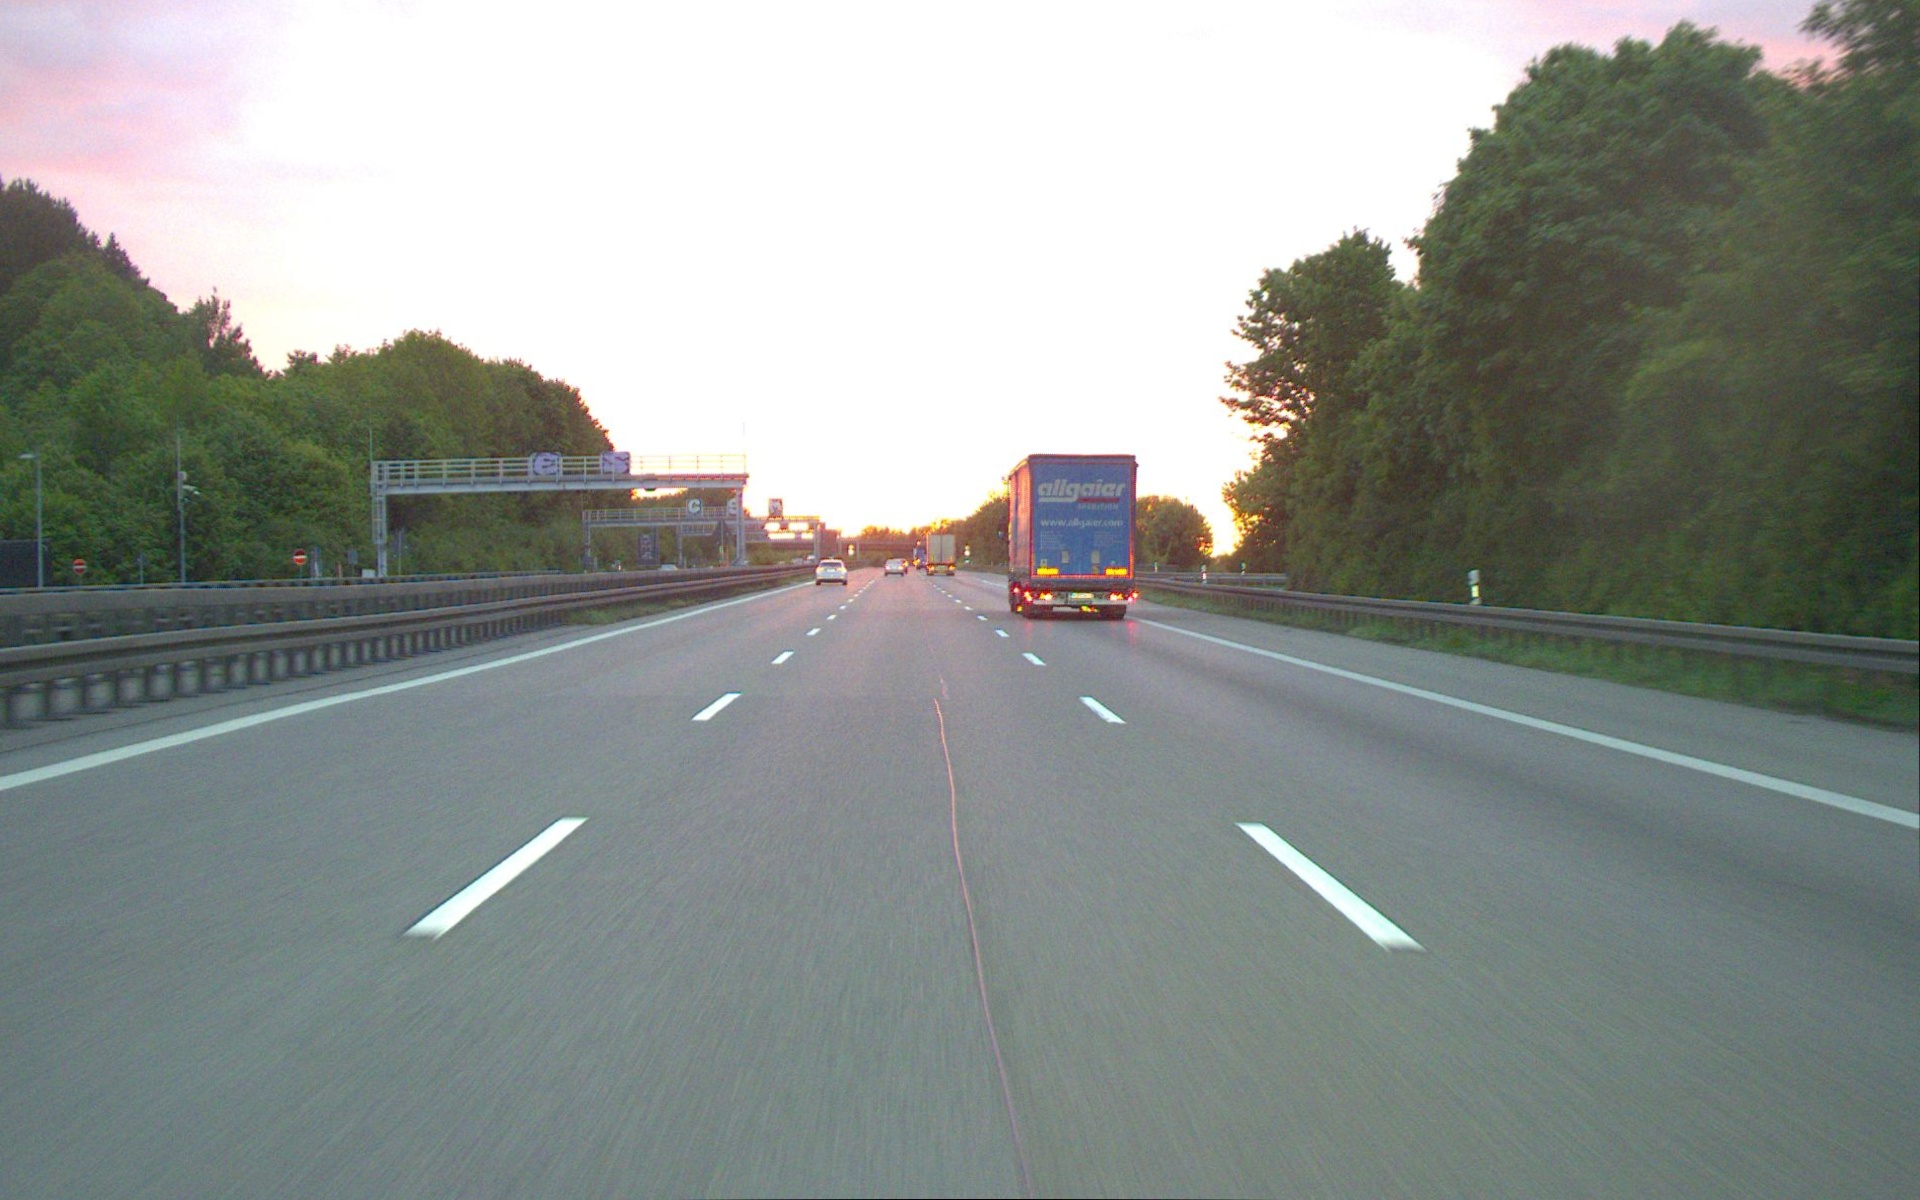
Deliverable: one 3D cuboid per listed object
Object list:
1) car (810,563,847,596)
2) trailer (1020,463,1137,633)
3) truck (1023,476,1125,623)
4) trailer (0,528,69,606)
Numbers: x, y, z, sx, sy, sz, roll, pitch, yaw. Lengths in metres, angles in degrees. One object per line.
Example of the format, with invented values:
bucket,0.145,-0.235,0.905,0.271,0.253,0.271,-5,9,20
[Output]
car,-7.552,-1.202,197.450,2.013,1.743,3.903,-3,1,-1
trailer,3.014,-1.342,90.028,2.772,4.072,13.739,1,1,1
truck,3.179,-1.423,96.950,2.736,3.983,5.849,1,1,1
trailer,-47.470,-1.526,160.247,3.066,3.666,13.321,1,1,29
